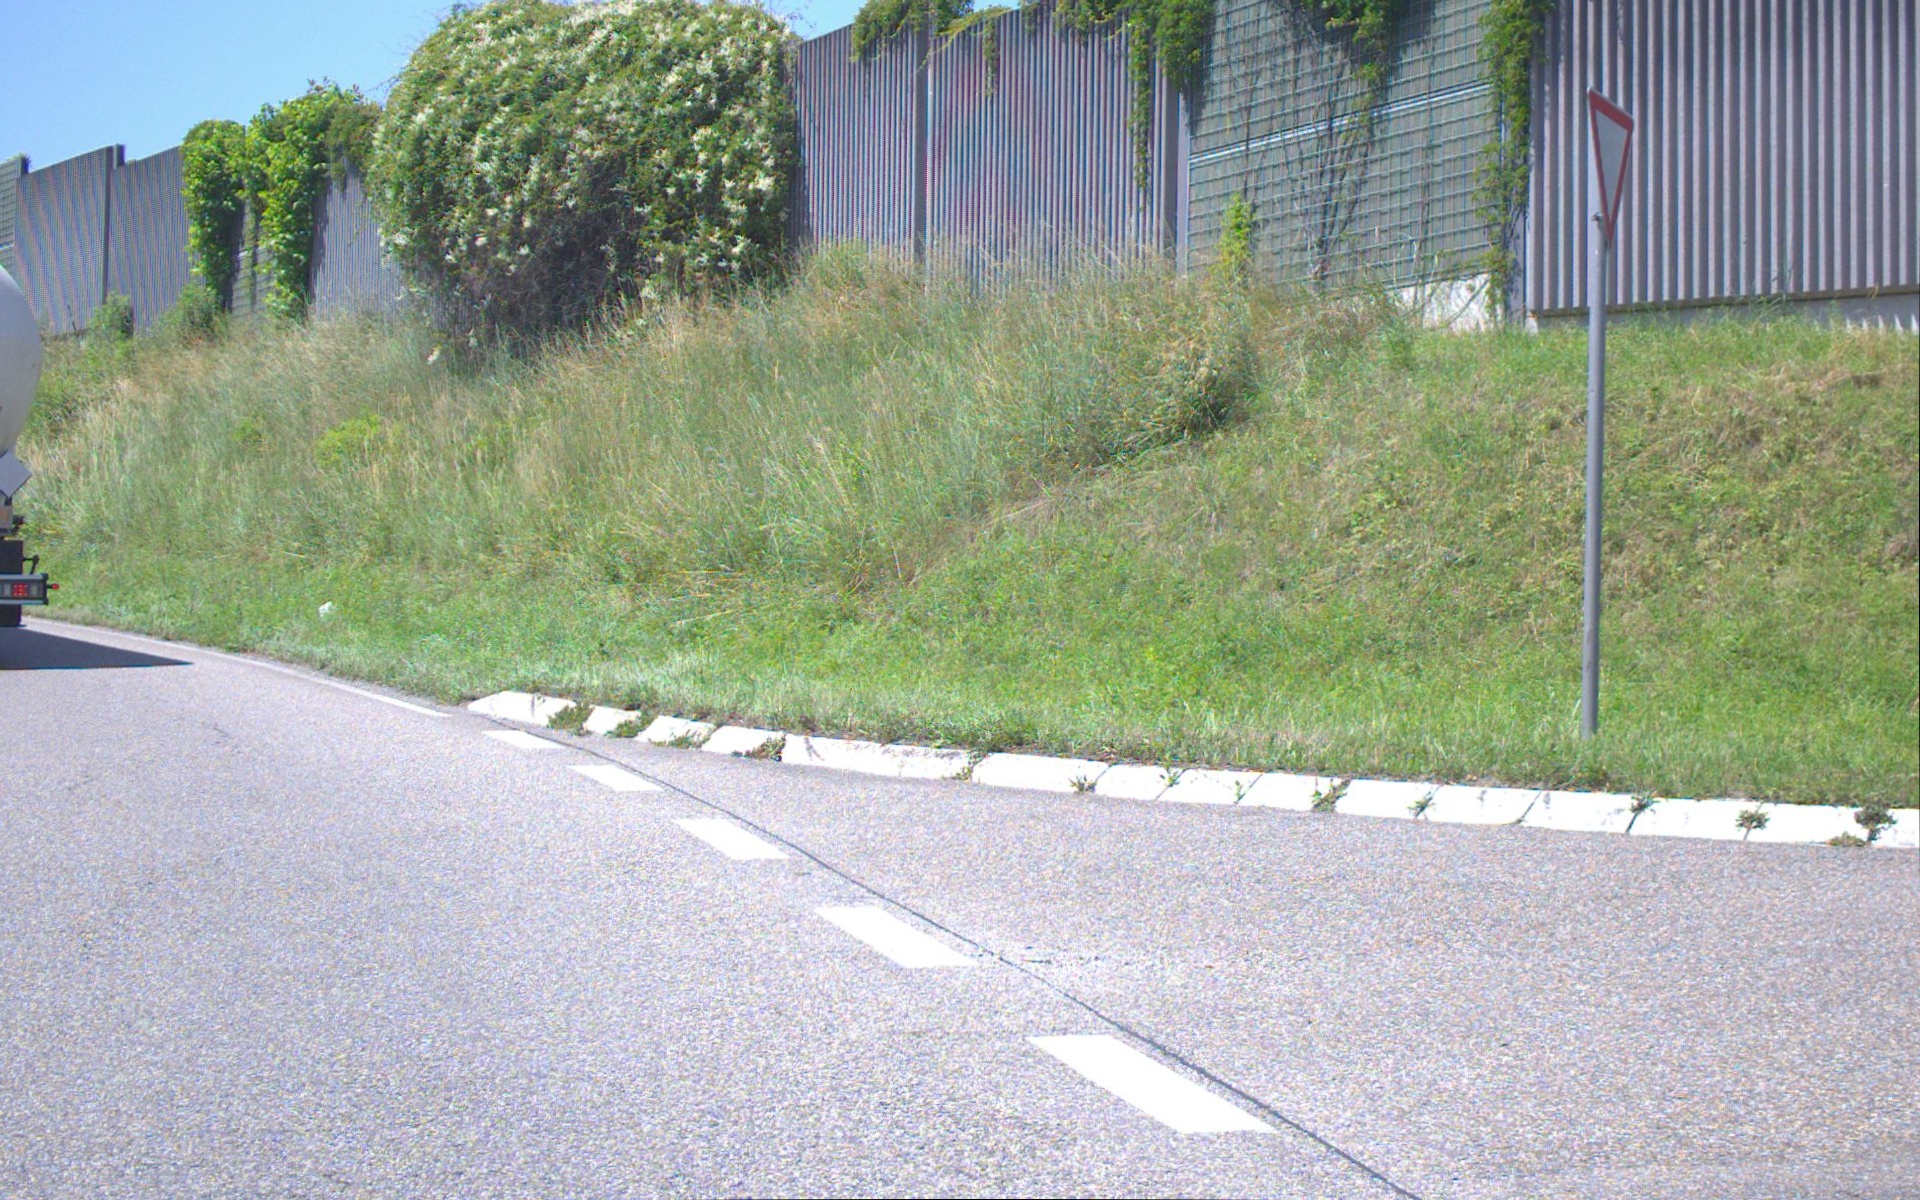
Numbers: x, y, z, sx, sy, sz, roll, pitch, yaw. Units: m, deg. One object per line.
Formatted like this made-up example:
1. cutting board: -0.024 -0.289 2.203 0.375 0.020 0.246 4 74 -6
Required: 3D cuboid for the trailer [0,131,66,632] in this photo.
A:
1. trailer: -11.395 -2.082 33.650 2.661 4.174 11.907 -1 3 -27
